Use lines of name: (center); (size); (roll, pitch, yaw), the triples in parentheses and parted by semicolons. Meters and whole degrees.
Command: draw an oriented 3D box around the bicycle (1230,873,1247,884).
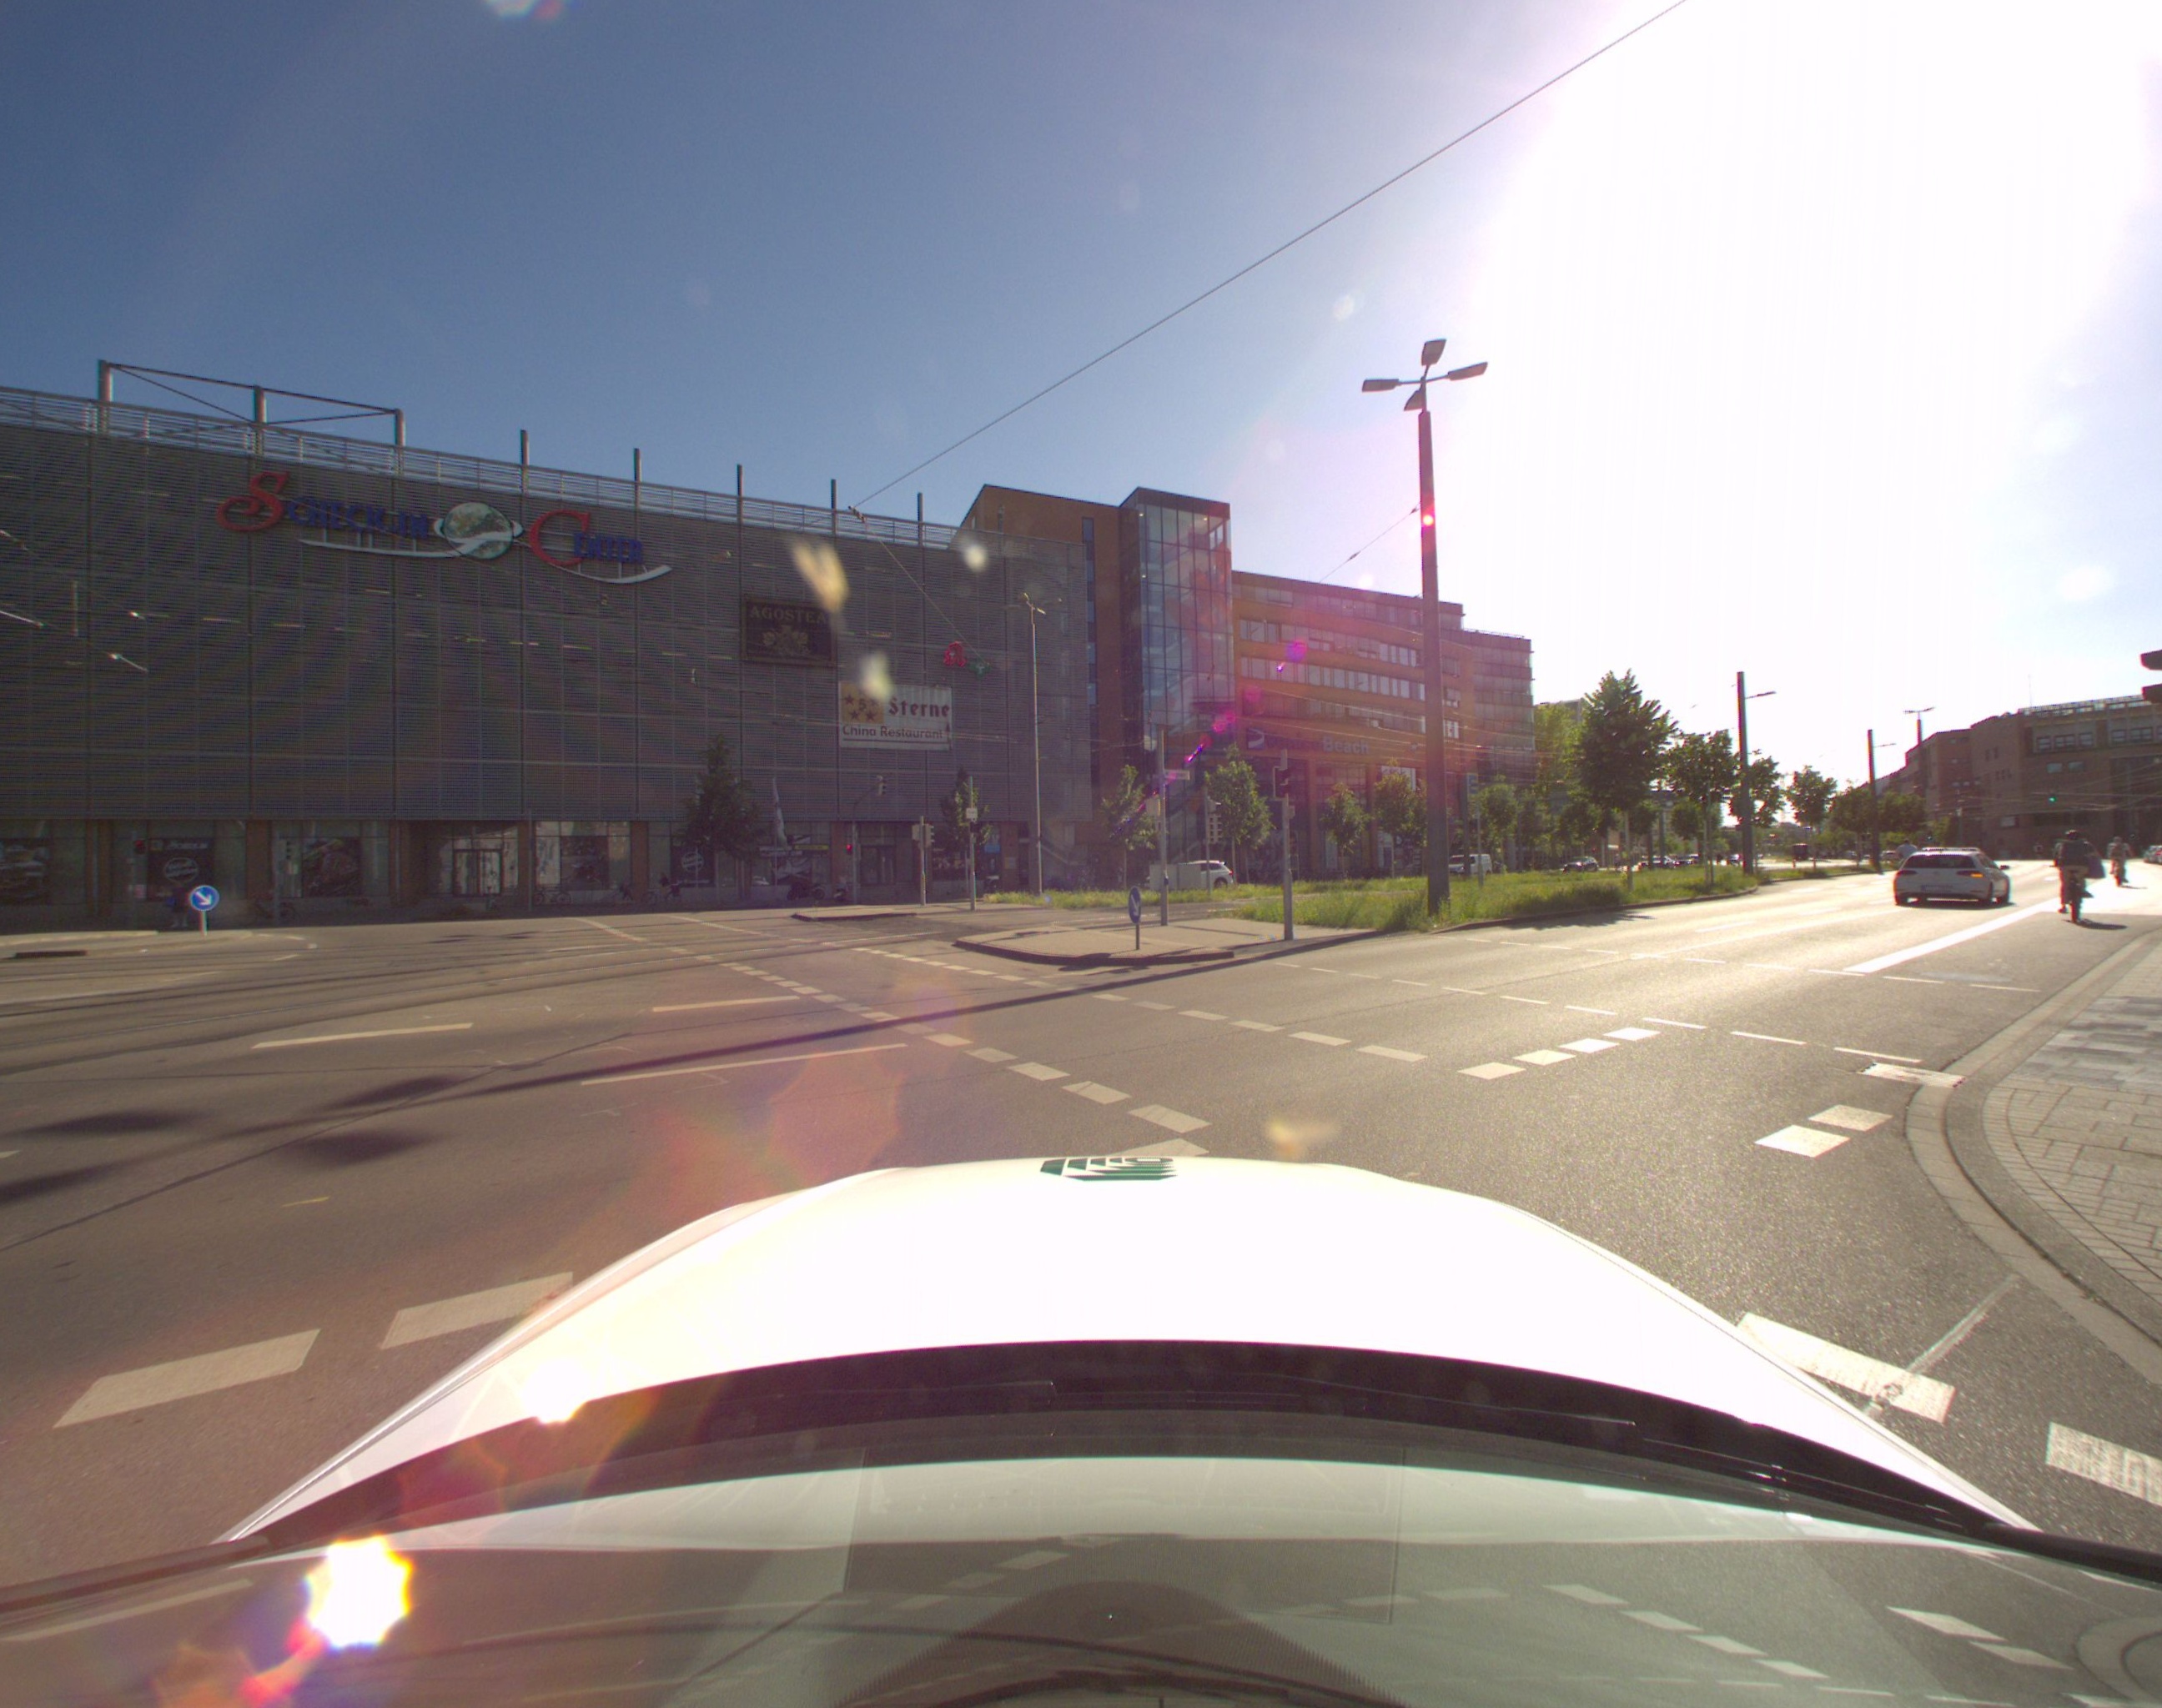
bicycle: (11.743, 1.810, 60.710); (0.447, 0.819, 1.437); (0, 0, -29)

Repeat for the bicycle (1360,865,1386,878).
bicycle: (25.437, 1.545, 70.948); (0.755, 1.123, 2.160); (0, 0, -29)

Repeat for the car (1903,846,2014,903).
car: (23.948, 0.484, 22.188); (4.314, 1.403, 1.758); (0, 1, -39)

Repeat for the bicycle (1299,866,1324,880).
bicycle: (19.168, 1.611, 67.767); (0.755, 1.123, 2.160); (0, 0, -29)

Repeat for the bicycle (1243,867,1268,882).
bicycle: (13.970, 1.655, 65.211); (0.755, 1.123, 2.160); (0, 0, -29)

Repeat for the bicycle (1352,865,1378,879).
bicycle: (24.551, 1.558, 70.436); (0.755, 1.123, 2.160); (0, 0, -29)

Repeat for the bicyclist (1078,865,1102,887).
bicyclist: (0.568, 1.384, 51.312); (1.314, 1.407, 0.589); (-1, -2, -23)

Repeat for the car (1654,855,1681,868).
car: (61.118, 0.757, 84.885); (1.974, 1.334, 4.820); (-2, -1, 39)

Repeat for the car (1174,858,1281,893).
car: (7.566, 1.061, 41.888); (5.562, 1.652, 1.796); (-1, -1, -30)

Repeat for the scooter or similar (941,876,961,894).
scooter or similar: (-8.117, 1.935, 50.861); (1.206, 1.103, 0.275); (1, -2, -22)

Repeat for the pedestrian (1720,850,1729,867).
pedestrian: (71.019, 0.460, 89.899); (0.576, 1.831, 0.499); (-2, -1, 13)

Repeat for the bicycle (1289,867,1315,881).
bicycle: (18.239, 1.627, 67.359); (0.755, 1.123, 2.160); (0, 0, -29)

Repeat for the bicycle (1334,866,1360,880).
bicycle: (22.645, 1.580, 69.279); (0.755, 1.123, 2.160); (0, 0, -29)

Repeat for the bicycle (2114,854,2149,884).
bicycle: (39.887, 0.578, 30.925); (1.764, 1.110, 0.644); (0, -2, -33)

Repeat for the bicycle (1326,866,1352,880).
bicycle: (21.848, 1.570, 68.940); (0.755, 1.123, 2.160); (0, 0, -29)

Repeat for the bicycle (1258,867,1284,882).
bicycle: (15.460, 1.661, 66.320); (0.755, 1.123, 2.160); (0, 0, -29)

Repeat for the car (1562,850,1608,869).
car: (48.047, 0.492, 77.549); (4.556, 1.681, 1.979); (0, -1, -34)

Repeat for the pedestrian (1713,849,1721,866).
pedestrian: (69.576, 0.345, 89.107); (0.457, 1.831, 0.460); (-2, -1, 13)

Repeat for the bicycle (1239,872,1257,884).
bicycle: (12.561, 1.810, 61.267); (0.447, 0.819, 1.437); (0, 0, -29)

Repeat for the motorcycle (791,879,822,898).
motorcycle: (-15.588, 1.933, 46.301); (1.621, 1.038, 0.398); (-1, -1, -24)

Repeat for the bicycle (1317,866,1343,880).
bicycle: (20.939, 1.604, 68.626); (0.755, 1.123, 2.160); (0, 0, -29)

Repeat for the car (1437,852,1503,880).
car: (30.332, 0.934, 63.401); (5.276, 2.014, 2.204); (0, -1, -34)

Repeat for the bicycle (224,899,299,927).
bicycle: (-32.469, 2.317, 32.308); (0.552, 0.985, 2.034); (-2, -1, 33)

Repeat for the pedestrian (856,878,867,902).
pedestrian: (-11.238, 1.842, 41.634); (0.446, 1.229, 0.397); (-1, -1, 1)

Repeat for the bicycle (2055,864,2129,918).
bicycle: (20.977, 0.742, 16.891); (1.899, 1.037, 0.819); (0, 0, -34)

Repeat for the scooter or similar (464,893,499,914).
scooter or similar: (-26.884, 2.214, 36.533); (1.229, 0.851, 0.298); (-1, -2, -27)

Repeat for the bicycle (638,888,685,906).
bicycle: (-21.174, 2.169, 41.160); (2.051, 0.867, 0.677); (-1, -1, -25)

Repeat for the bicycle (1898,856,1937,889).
bicycle: (28.751, 0.624, 27.966); (2.710, 1.069, 0.681); (0, 0, -39)

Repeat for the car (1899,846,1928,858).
car: (121.013, -0.274, 118.398); (2.240, 1.727, 3.969); (-2, -1, 35)

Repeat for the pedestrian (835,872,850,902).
pedestrian: (-12.308, 1.701, 42.052); (0.740, 1.487, 0.487); (-1, -1, -14)

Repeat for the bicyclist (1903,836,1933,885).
bicyclist: (28.729, 0.219, 27.949); (1.025, 1.669, 0.612); (0, 0, -39)

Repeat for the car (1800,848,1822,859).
car: (124.003, -0.019, 138.398); (2.240, 1.727, 3.969); (-2, -1, 35)

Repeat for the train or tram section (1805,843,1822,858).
train or tram section: (148.424, -0.683, 164.997); (2.304, 3.003, 13.240); (-2, -2, 41)

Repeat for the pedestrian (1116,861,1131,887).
pedestrian: (2.836, 1.348, 53.902); (0.782, 1.685, 0.590); (0, -2, -38)

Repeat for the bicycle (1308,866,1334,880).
bicycle: (20.100, 1.601, 68.236); (0.755, 1.123, 2.160); (0, 0, -29)

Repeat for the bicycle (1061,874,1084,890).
bicycle: (-0.573, 1.848, 53.883); (0.494, 0.954, 2.160); (0, 0, -29)

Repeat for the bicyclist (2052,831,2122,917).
bicyclist: (20.626, 0.384, 16.692); (1.055, 1.693, 0.801); (0, 0, -33)

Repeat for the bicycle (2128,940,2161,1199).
bicycle: (5.223, 0.881, 2.798); (0.608, 1.038, 1.877); (-2, -2, -29)

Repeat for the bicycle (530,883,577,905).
bicycle: (-26.697, 2.018, 41.243); (1.956, 1.038, 0.568); (-1, -1, -28)

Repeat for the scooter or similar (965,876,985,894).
scooter or similar: (-6.703, 1.958, 51.598); (1.206, 1.103, 0.275); (1, -2, -22)

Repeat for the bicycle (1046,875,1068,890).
bicycle: (-1.551, 1.841, 53.240); (0.494, 0.954, 2.160); (0, 0, -29)

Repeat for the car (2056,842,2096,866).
car: (73.967, -0.014, 60.547); (4.157, 1.703, 1.768); (-1, 1, -38)

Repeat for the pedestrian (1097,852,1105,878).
pedestrian: (1.481, 0.822, 60.600); (0.540, 1.915, 0.372); (1, -2, -16)

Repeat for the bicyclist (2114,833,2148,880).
bicyclist: (40.022, 0.102, 31.030); (1.049, 1.752, 0.644); (-1, -1, -33)

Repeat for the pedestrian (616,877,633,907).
pedestrian: (-23.300, 1.916, 41.581); (0.649, 1.519, 0.488); (-1, -2, -20)

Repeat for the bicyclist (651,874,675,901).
bicyclist: (-21.136, 1.687, 41.174); (1.041, 1.318, 0.677); (-1, -1, -25)

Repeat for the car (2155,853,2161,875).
car: (80.652, 0.739, 59.574); (1.888, 1.583, 4.163); (0, 1, 44)

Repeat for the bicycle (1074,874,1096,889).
bicycle: (0.256, 1.824, 54.269); (0.494, 0.954, 2.160); (0, 0, -29)

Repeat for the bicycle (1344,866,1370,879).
bicycle: (23.512, 1.577, 69.494); (0.755, 1.123, 2.160); (0, 0, -29)

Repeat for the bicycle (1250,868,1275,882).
bicycle: (14.693, 1.673, 65.883); (0.755, 1.123, 2.160); (0, 0, -29)

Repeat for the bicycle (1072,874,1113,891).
bicycle: (0.708, 1.782, 51.347); (2.571, 1.010, 0.593); (-1, -1, -23)

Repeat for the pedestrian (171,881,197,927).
pedestrian: (-34.720, 1.912, 31.529); (0.629, 1.751, 0.582); (0, -2, -42)

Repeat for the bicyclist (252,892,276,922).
bicyclist: (-32.440, 2.095, 32.353); (0.552, 1.140, 0.567); (-2, -2, 33)

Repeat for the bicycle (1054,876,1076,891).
bicycle: (-1.054, 1.925, 53.557); (0.494, 0.954, 2.160); (0, 0, -29)

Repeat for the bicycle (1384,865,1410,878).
bicycle: (27.943, 1.534, 72.139); (0.755, 1.123, 2.160); (0, 0, -29)

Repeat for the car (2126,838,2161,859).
car: (83.643, -0.440, 63.678); (4.162, 1.541, 1.889); (-1, 1, -45)

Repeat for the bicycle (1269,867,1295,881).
bicycle: (16.425, 1.637, 66.672); (0.756, 1.123, 2.157); (0, 0, -34)

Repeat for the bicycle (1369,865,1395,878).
bicycle: (26.318, 1.532, 71.307); (0.755, 1.123, 2.160); (0, 0, -29)
